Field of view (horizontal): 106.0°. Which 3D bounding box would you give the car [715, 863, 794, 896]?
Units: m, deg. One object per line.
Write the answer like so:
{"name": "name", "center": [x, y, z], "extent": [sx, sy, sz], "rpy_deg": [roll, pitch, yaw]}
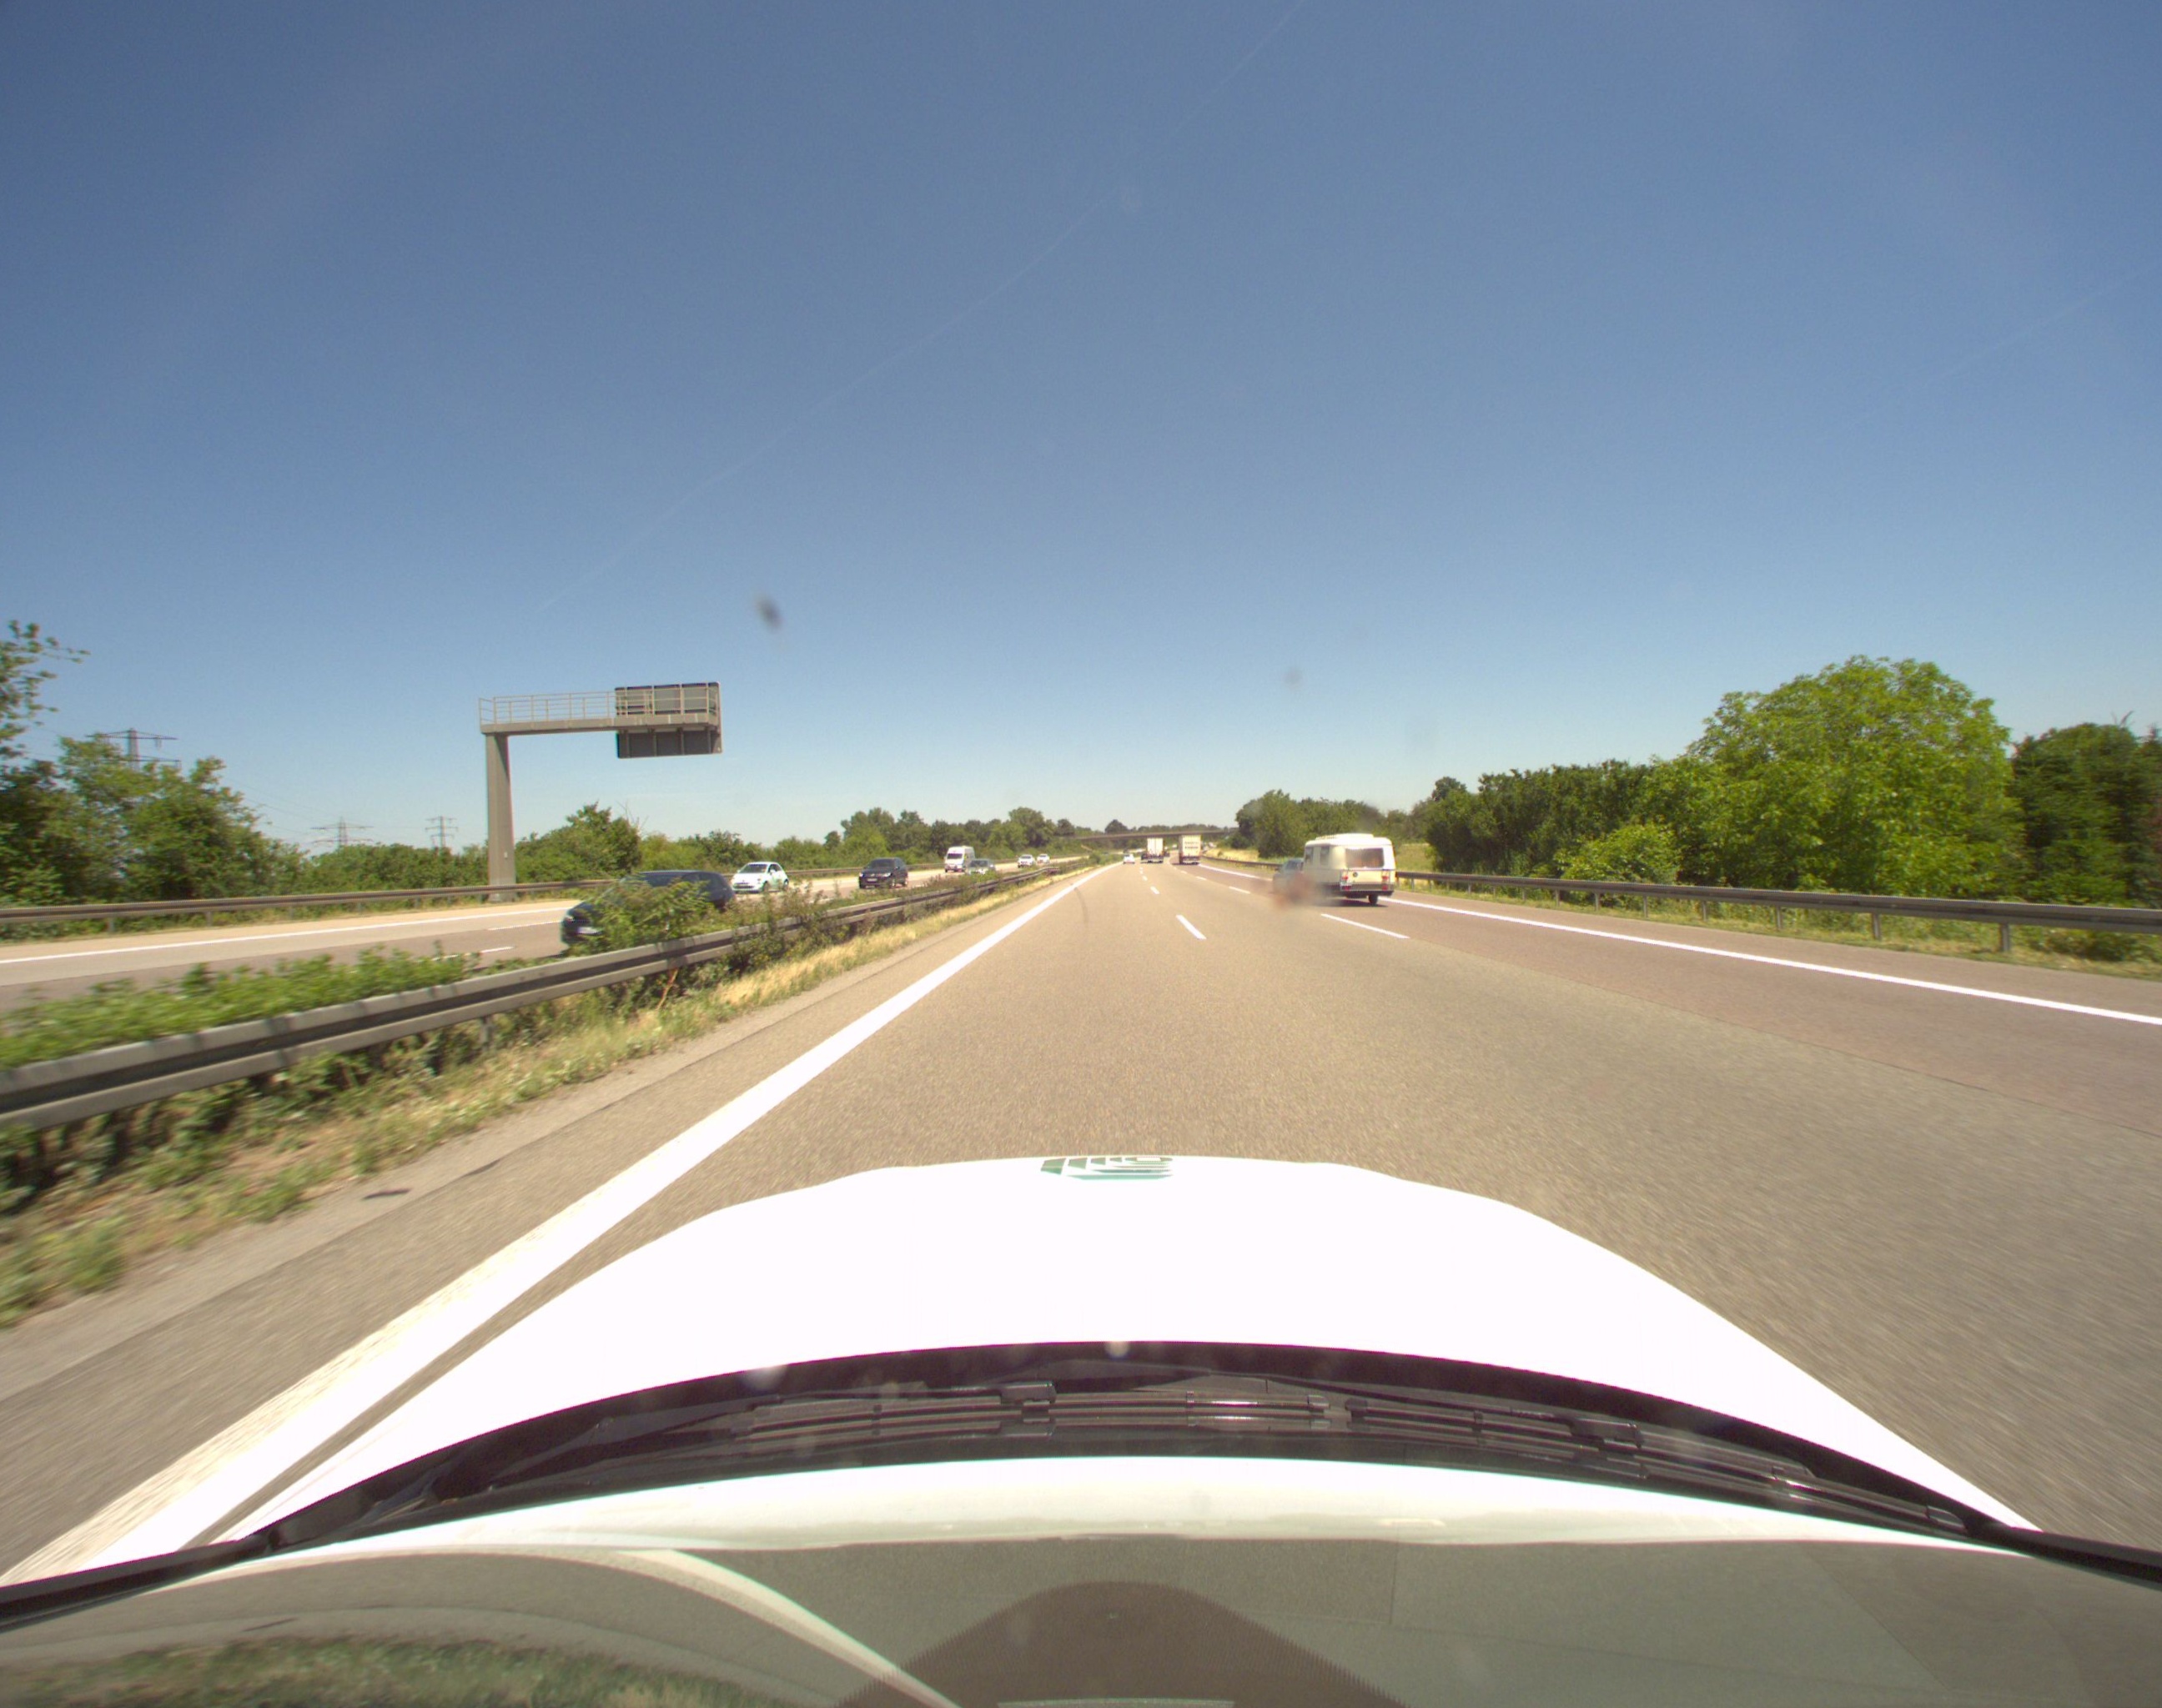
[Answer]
{"name": "car", "center": [-15.746, 1.174, 39.539], "extent": [1.985, 1.458, 4.091], "rpy_deg": [-1, 0, 3]}

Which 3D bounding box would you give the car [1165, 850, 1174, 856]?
{"name": "car", "center": [22.908, -0.339, 210.733], "extent": [1.816, 1.547, 4.333], "rpy_deg": [0, 0, 11]}

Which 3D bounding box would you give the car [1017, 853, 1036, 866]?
{"name": "car", "center": [-7.117, 0.734, 106.616], "extent": [1.780, 1.680, 4.905], "rpy_deg": [-1, 0, 3]}

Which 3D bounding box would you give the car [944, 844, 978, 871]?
{"name": "car", "center": [-12.525, 0.394, 85.608], "extent": [1.984, 2.686, 7.191], "rpy_deg": [-1, 0, 4]}

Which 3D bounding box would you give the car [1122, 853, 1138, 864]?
{"name": "car", "center": [7.408, 0.697, 123.588], "extent": [1.816, 1.547, 4.333], "rpy_deg": [0, 0, 11]}

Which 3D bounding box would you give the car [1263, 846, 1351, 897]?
{"name": "car", "center": [8.687, 0.598, 31.850], "extent": [2.037, 1.658, 5.513], "rpy_deg": [-2, 1, 2]}

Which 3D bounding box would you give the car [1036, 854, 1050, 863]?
{"name": "car", "center": [-6.802, 0.733, 146.089], "extent": [1.738, 1.540, 4.837], "rpy_deg": [0, 1, 7]}

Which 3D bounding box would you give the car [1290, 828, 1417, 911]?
{"name": "car", "center": [8.584, 0.382, 26.293], "extent": [2.433, 2.321, 5.325], "rpy_deg": [-2, 1, 2]}

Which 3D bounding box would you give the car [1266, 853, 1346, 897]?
{"name": "car", "center": [8.665, 0.755, 31.827], "extent": [1.879, 1.515, 5.384], "rpy_deg": [0, 1, 3]}

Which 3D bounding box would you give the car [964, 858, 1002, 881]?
{"name": "car", "center": [-6.589, 1.008, 55.155], "extent": [1.738, 1.466, 4.256], "rpy_deg": [-1, 0, 5]}

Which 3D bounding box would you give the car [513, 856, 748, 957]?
{"name": "car", "center": [-8.665, 0.913, 16.259], "extent": [1.986, 1.698, 4.609], "rpy_deg": [-1, 0, 2]}

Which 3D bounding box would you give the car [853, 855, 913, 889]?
{"name": "car", "center": [-10.763, 0.944, 44.559], "extent": [1.986, 1.698, 4.609], "rpy_deg": [-1, 0, 2]}

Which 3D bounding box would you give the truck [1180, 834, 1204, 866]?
{"name": "truck", "center": [16.076, -0.687, 118.416], "extent": [3.164, 4.304, 16.052], "rpy_deg": [-1, 1, 7]}

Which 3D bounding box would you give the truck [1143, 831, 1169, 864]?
{"name": "truck", "center": [12.479, -1.138, 133.955], "extent": [3.647, 5.018, 16.050], "rpy_deg": [-1, 1, 7]}
